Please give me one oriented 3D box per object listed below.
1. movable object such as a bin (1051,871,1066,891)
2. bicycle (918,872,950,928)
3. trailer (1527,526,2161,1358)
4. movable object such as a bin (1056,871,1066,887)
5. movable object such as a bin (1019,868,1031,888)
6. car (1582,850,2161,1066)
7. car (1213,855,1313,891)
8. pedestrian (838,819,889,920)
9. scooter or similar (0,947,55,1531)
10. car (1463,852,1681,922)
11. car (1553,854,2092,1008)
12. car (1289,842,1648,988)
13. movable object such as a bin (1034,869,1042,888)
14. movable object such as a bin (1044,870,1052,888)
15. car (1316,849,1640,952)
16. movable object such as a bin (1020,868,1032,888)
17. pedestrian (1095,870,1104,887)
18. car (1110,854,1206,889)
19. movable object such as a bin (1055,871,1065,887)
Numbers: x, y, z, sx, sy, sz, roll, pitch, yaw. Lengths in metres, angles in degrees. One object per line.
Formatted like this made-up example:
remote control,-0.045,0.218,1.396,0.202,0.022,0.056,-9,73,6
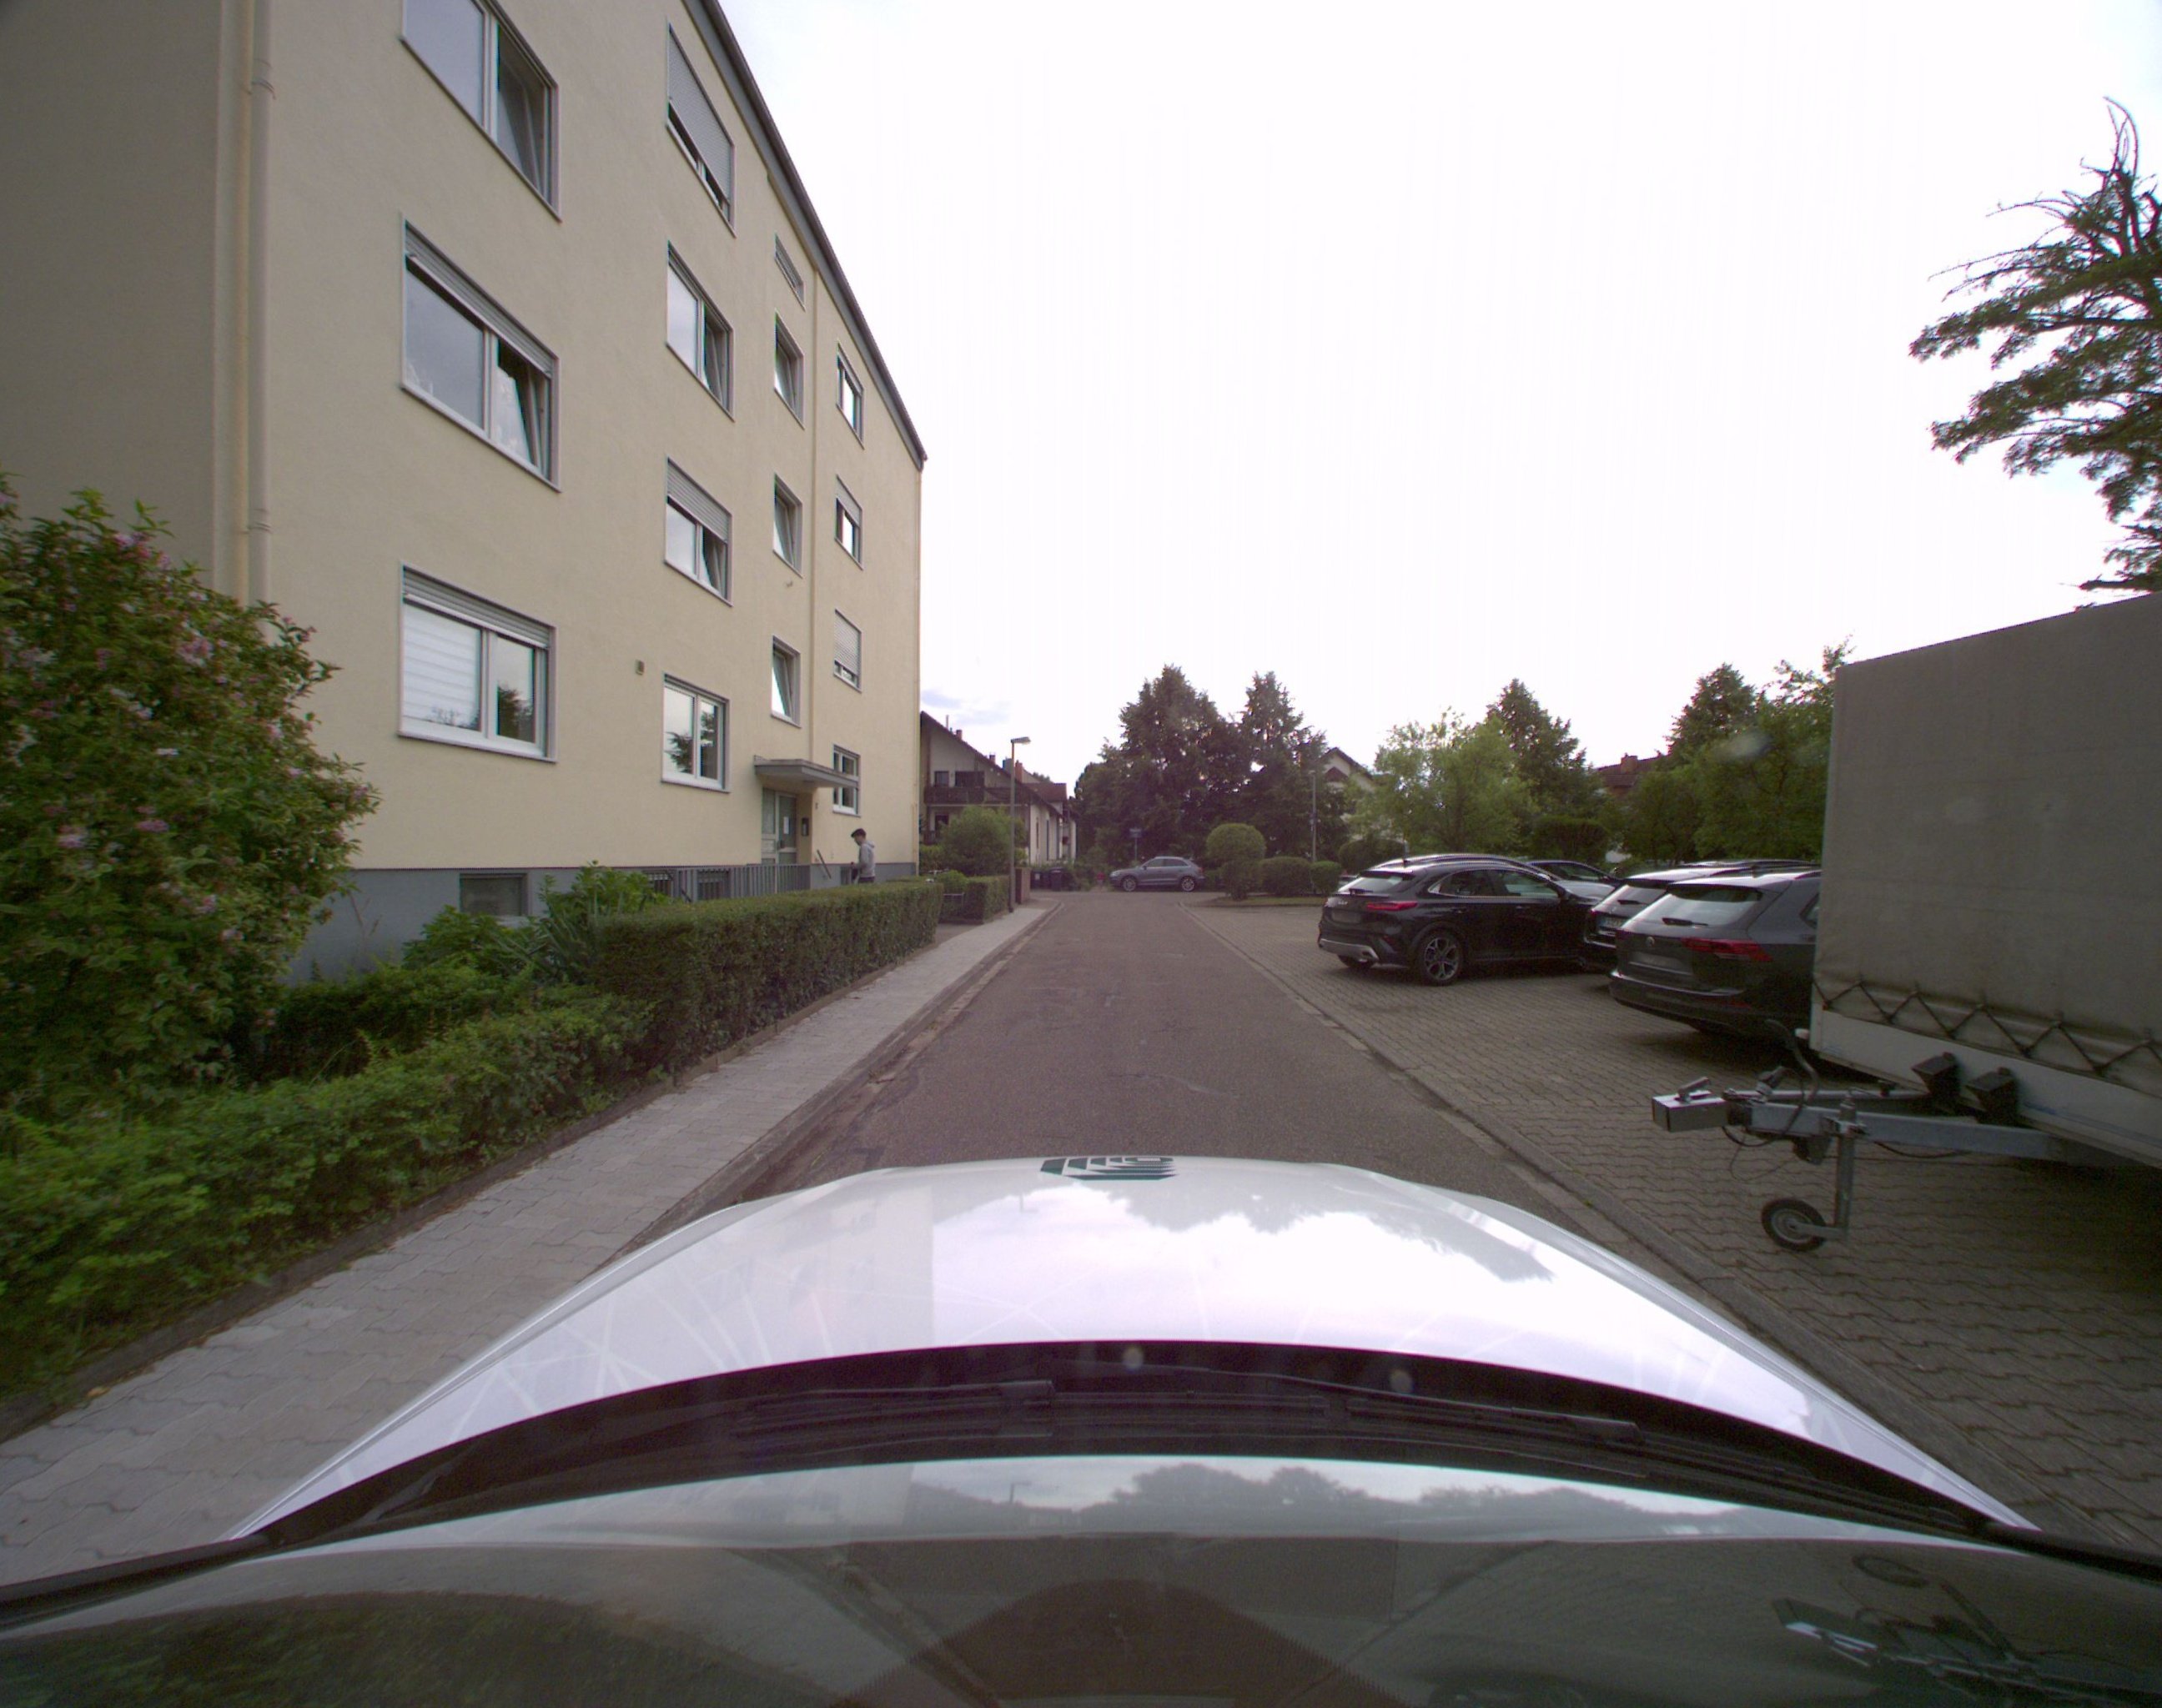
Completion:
movable object such as a bin,-1.069,1.286,38.844,0.636,0.953,0.723,1,-1,1
bicycle,-2.975,0.909,16.599,0.317,1.076,1.419,1,-1,3
trailer,4.685,0.268,3.402,4.591,2.525,1.944,0,0,2
movable object such as a bin,-1.004,1.238,40.875,0.458,0.797,0.379,1,-1,-1
movable object such as a bin,-2.738,1.181,39.903,0.535,0.994,0.337,1,-1,-1
car,6.494,0.717,6.400,4.112,1.449,1.613,-1,0,1
car,8.045,0.867,36.273,4.160,1.531,1.750,0,-2,6
pedestrian,-3.858,0.273,14.484,0.676,1.749,0.756,1,-1,0
scooter or similar,-2.413,0.813,1.214,0.272,1.211,1.165,0,0,1
car,11.295,0.730,18.966,3.883,1.510,2.028,0,0,1
car,7.644,0.753,8.795,3.977,1.449,1.918,-1,0,4
car,5.088,0.702,10.871,3.996,1.552,1.989,-2,0,-17
movable object such as a bin,-2.141,1.225,40.492,0.384,0.901,0.379,1,-1,-1
movable object such as a bin,-1.641,1.260,40.504,0.384,0.890,0.379,1,-1,-1
car,6.475,0.732,13.732,4.517,1.588,1.990,0,0,3
movable object such as a bin,-2.722,1.194,40.335,0.535,0.994,0.337,1,-1,-1
pedestrian,1.617,2.135,70.866,0.812,1.517,0.438,0,-1,-1
car,3.404,0.811,36.730,4.221,1.531,1.747,0,-2,1
movable object such as a bin,-1.033,1.226,40.325,0.458,0.797,0.379,1,-1,-1
